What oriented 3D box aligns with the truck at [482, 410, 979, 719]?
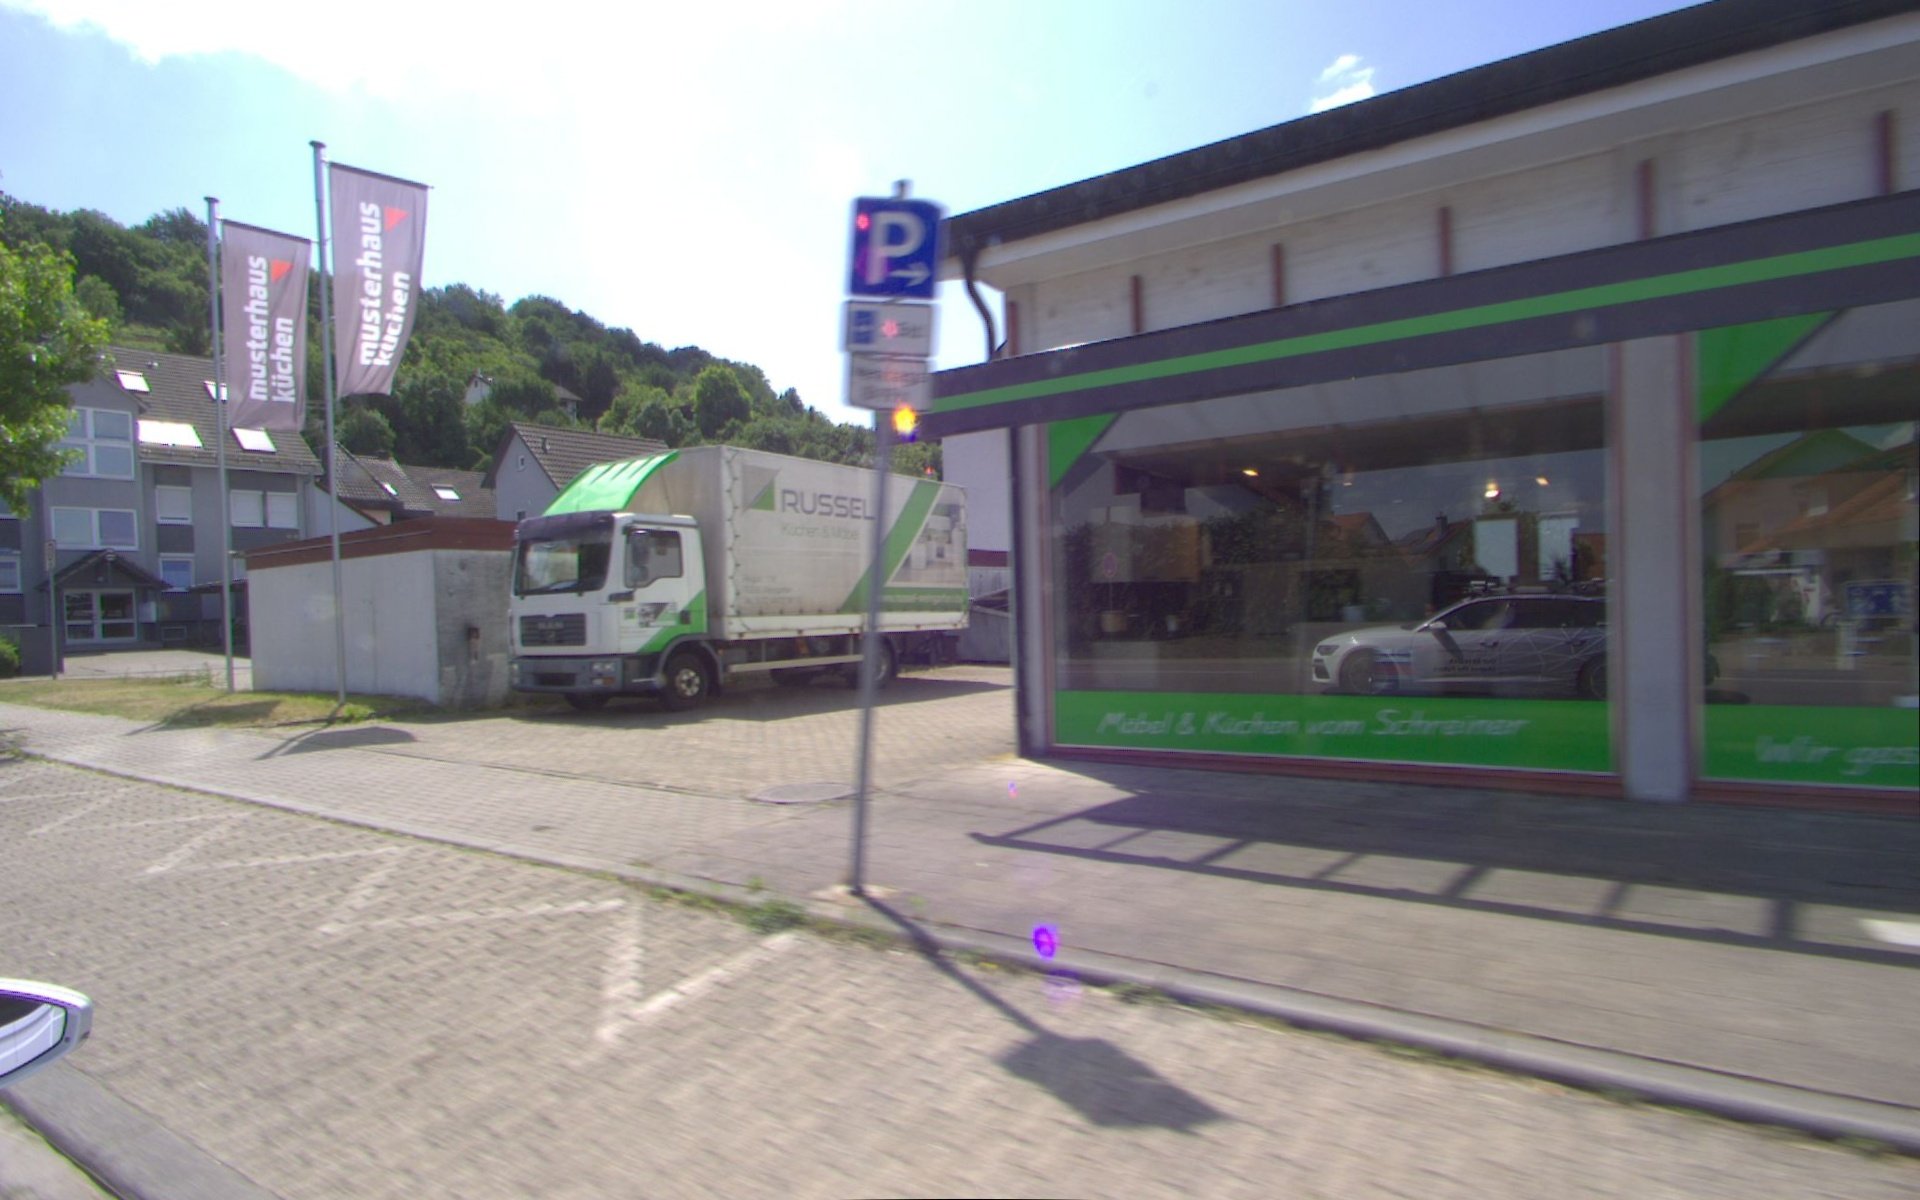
[{"bbox_3d":[-2.967,-0.358,15.901,2.640,3.619,8.153,-2,-1,32],"label":"truck"}]
